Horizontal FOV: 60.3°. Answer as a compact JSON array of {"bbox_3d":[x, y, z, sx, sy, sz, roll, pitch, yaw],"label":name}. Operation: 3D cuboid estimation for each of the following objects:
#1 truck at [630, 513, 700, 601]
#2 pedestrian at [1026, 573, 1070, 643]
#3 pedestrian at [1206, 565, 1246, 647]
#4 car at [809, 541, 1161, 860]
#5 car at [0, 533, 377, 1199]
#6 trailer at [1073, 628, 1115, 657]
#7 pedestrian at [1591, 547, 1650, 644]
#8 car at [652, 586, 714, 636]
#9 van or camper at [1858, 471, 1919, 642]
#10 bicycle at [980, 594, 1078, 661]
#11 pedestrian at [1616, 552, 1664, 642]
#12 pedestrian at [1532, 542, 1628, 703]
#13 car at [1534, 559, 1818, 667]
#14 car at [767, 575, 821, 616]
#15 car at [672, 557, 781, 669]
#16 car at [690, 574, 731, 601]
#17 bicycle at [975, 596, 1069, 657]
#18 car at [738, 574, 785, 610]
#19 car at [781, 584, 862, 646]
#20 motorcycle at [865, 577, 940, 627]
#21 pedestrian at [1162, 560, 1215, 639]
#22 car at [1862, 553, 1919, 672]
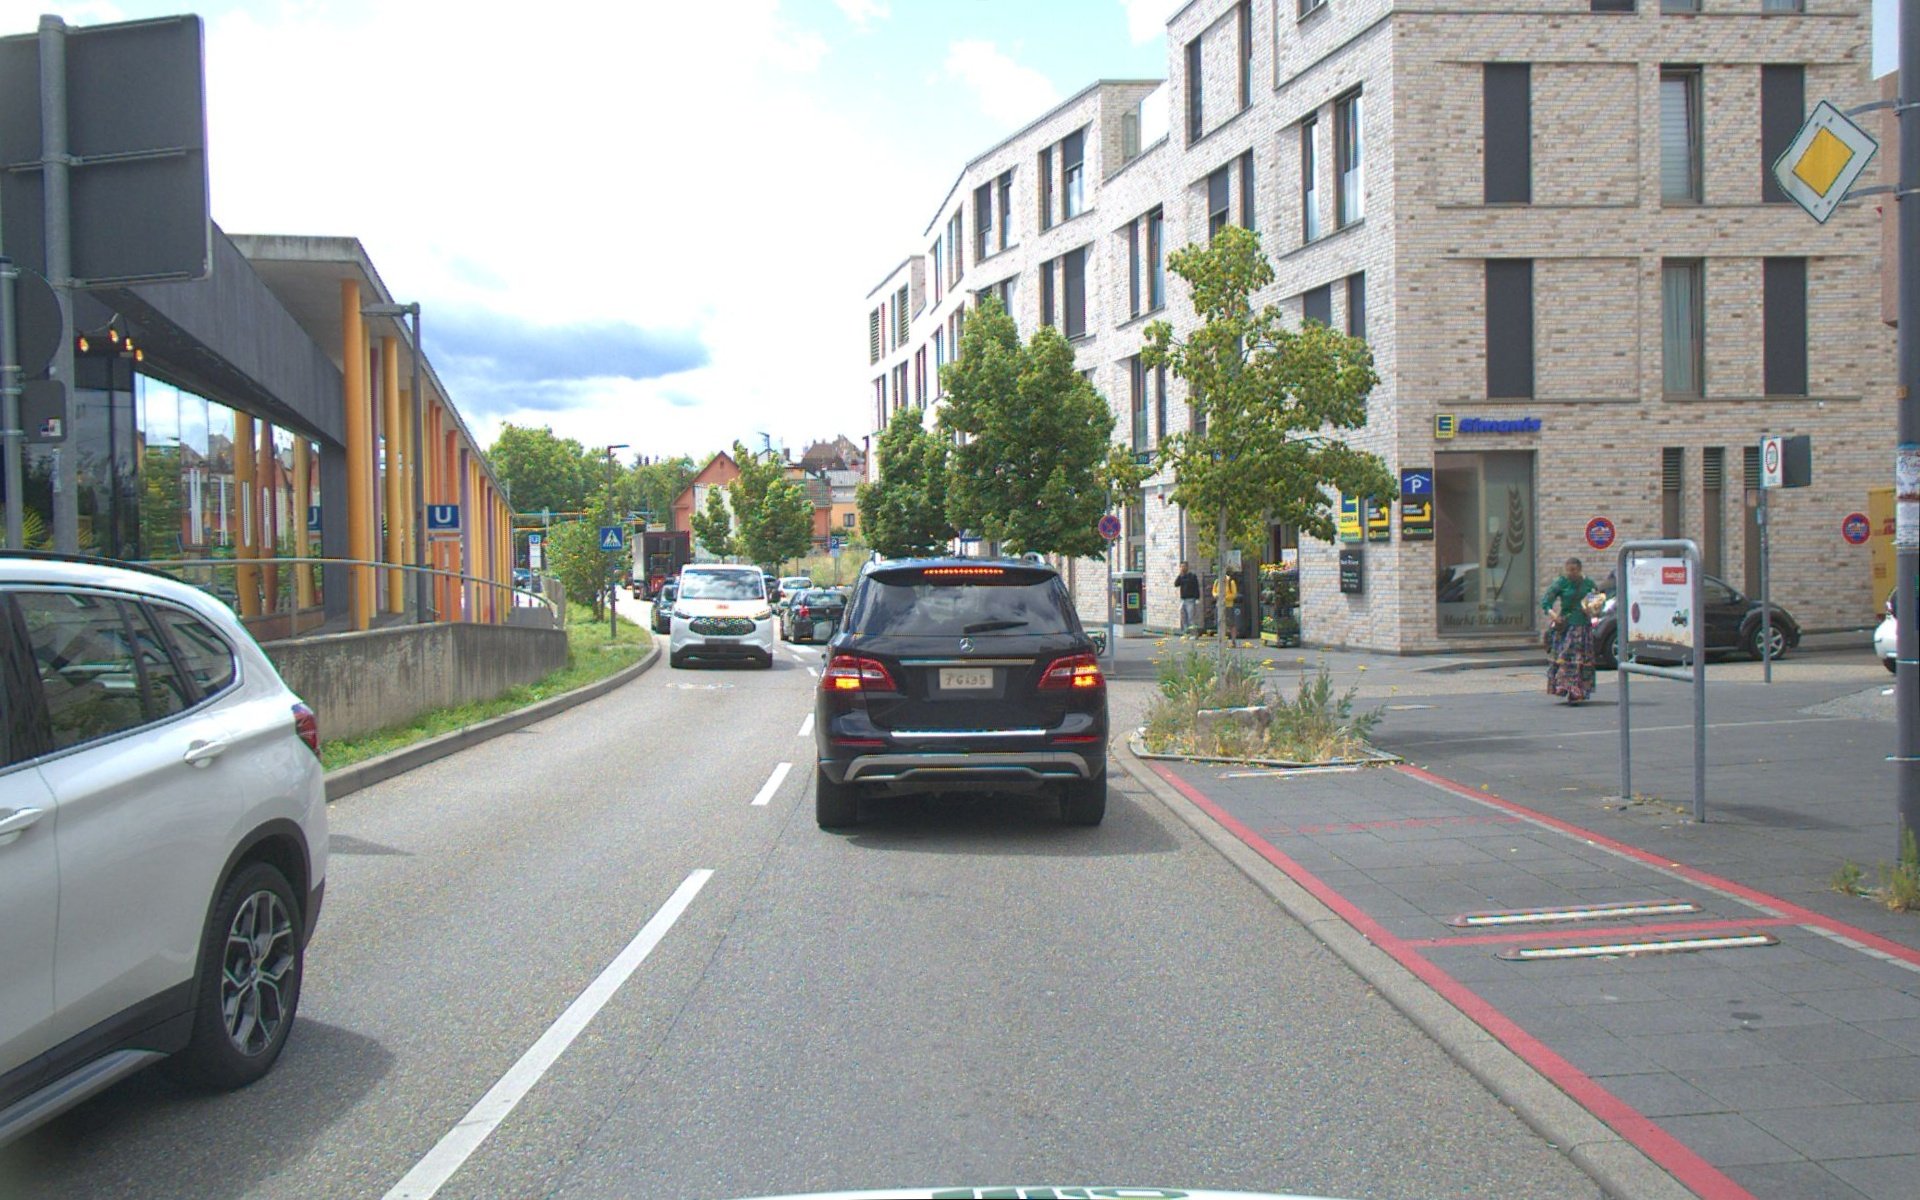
[{"bbox_3d":[-16.587,-2.308,92.605,3.150,4.615,8.992,0,0,-15],"label":"truck"},{"bbox_3d":[2.039,0.195,38.247,0.798,1.592,0.927,0,-1,-12],"label":"pedestrian"},{"bbox_3d":[5.645,0.121,35.058,0.644,1.722,0.631,-1,1,26],"label":"pedestrian"},{"bbox_3d":[-0.048,0.554,11.995,1.955,1.777,4.526,-3,1,-6],"label":"car"},{"bbox_3d":[-2.994,0.665,3.743,1.785,1.612,4.166,0,0,1],"label":"car"},{"bbox_3d":[2.651,0.840,32.854,0.705,0.538,0.811,-1,0,-4],"label":"trailer"},{"bbox_3d":[11.717,-0.076,29.350,0.549,1.700,0.806,0,-1,-35],"label":"pedestrian"},{"bbox_3d":[-8.696,0.309,51.759,1.741,1.489,4.222,0,1,-12],"label":"car"},{"bbox_3d":[18.942,-0.904,27.587,6.722,2.784,2.274,-3,-1,-5],"label":"van or camper"},{"bbox_3d":[1.366,0.536,32.871,1.788,1.222,0.755,-2,0,-8],"label":"bicycle"},{"bbox_3d":[12.220,-0.050,29.731,0.516,1.601,0.596,0,-1,-35],"label":"pedestrian"},{"bbox_3d":[6.710,0.236,17.887,0.731,1.667,0.925,-3,1,33],"label":"pedestrian"},{"bbox_3d":[11.537,0.188,26.764,3.822,1.502,1.780,-3,1,-9],"label":"car"},{"bbox_3d":[-6.798,-0.205,67.424,1.663,1.509,3.785,-3,2,-13],"label":"car"},{"bbox_3d":[-4.704,0.218,33.130,1.957,2.049,5.383,1,0,-9],"label":"car"},{"bbox_3d":[-14.693,-0.752,97.109,1.753,1.477,4.456,-3,2,-16],"label":"car"},{"bbox_3d":[1.257,0.537,33.693,1.788,1.151,0.755,-2,0,-8],"label":"bicycle"},{"bbox_3d":[-9.194,-0.394,76.513,1.664,1.486,4.133,-3,2,-13],"label":"car"},{"bbox_3d":[-3.799,0.374,44.928,1.696,1.482,3.798,-2,2,-12],"label":"car"},{"bbox_3d":[-1.638,0.054,47.345,2.007,1.288,0.673,-3,0,3],"label":"motorcycle"},{"bbox_3d":[5.299,-0.017,38.394,0.999,1.772,0.656,-2,1,-18],"label":"pedestrian"},{"bbox_3d":[13.912,0.091,21.591,3.314,1.502,1.717,-3,1,-3],"label":"car"}]
